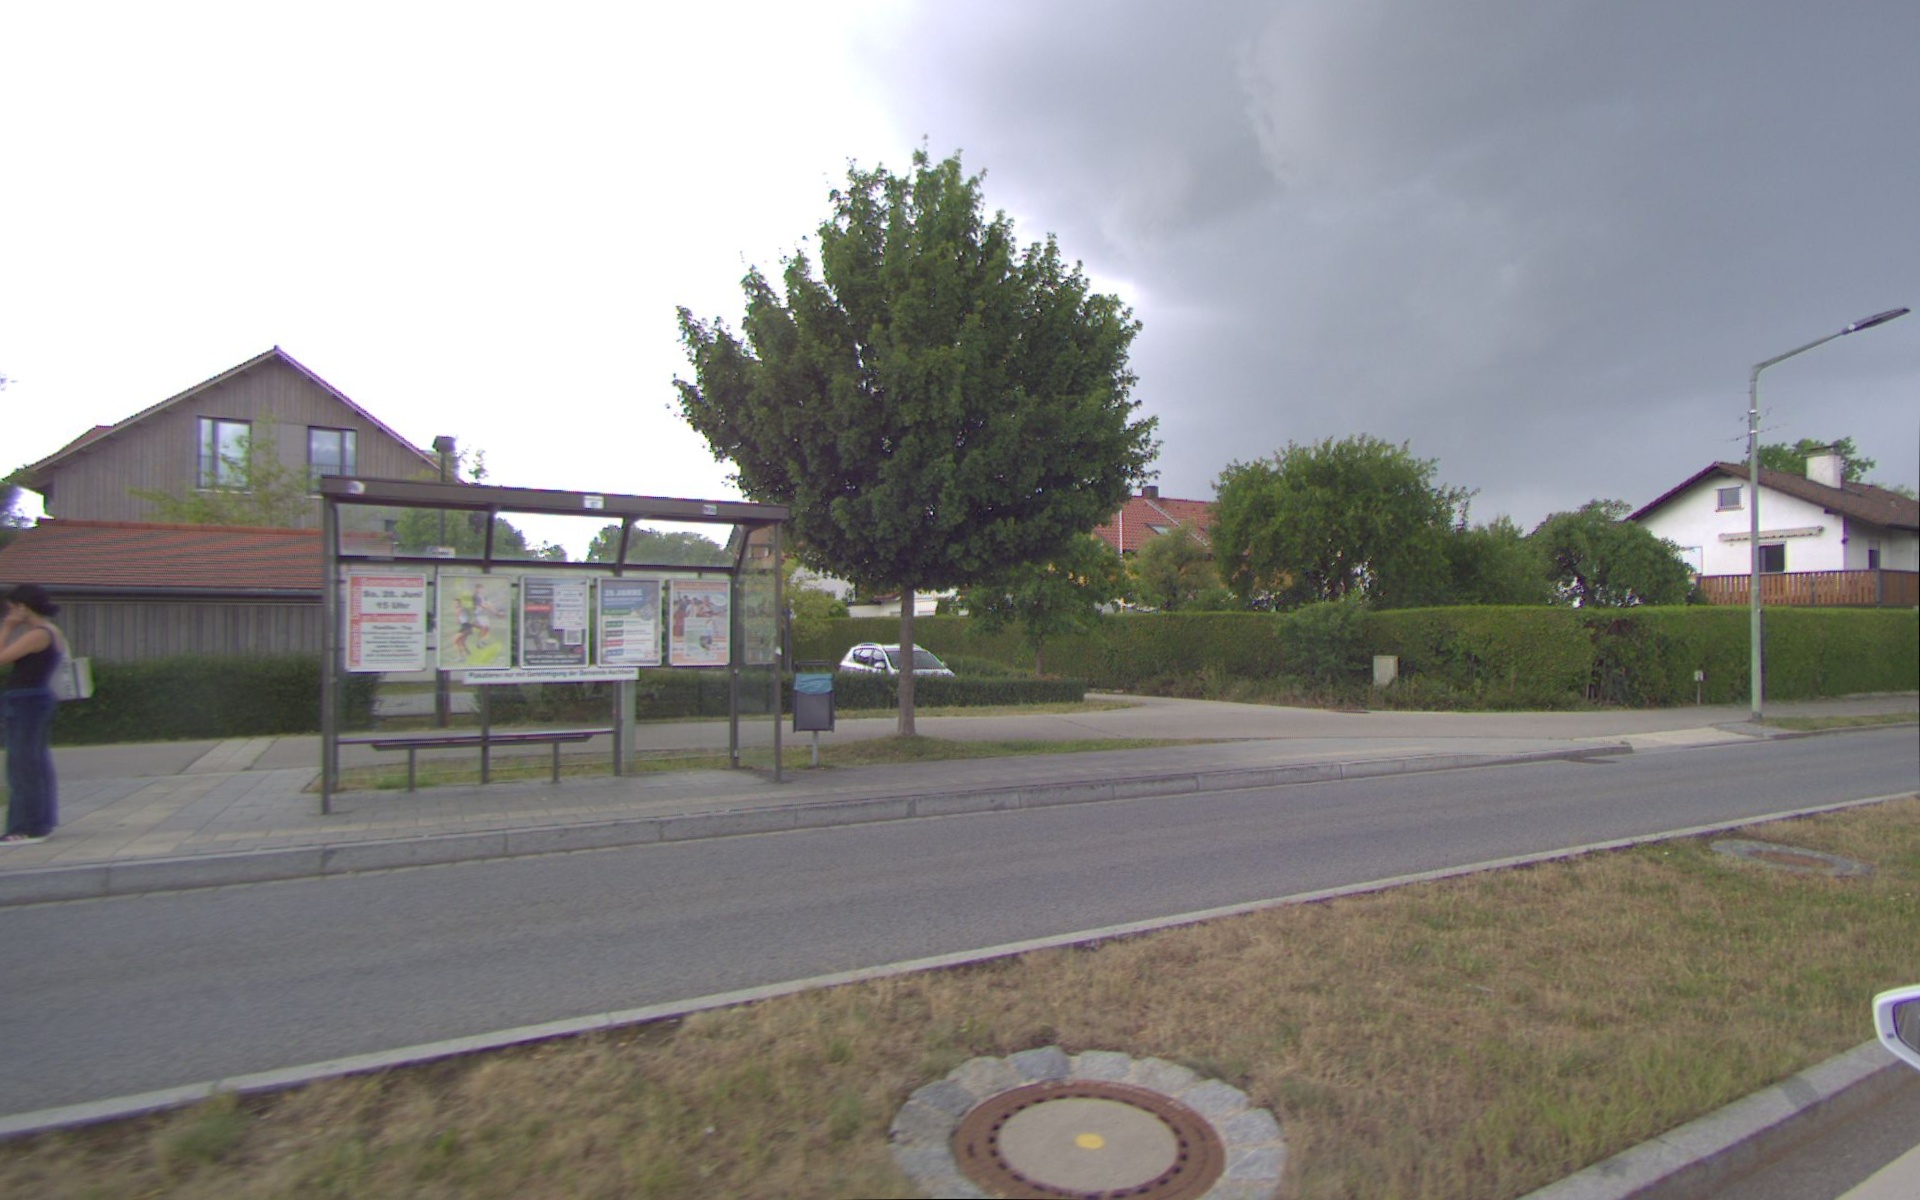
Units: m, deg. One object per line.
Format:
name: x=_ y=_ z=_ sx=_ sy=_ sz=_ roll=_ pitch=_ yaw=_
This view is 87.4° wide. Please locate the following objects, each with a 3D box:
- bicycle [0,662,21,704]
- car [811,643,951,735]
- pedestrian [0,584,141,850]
bicycle: x=-22.763 y=1.952 z=23.730 sx=0.414 sy=0.921 sz=1.932 roll=1 pitch=-2 yaw=-31
car: x=-2.083 y=2.144 z=25.407 sx=1.978 sy=2.040 sz=3.966 roll=1 pitch=-2 yaw=-31
pedestrian: x=-5.982 y=0.737 z=6.610 sx=0.803 sy=1.658 sz=0.585 roll=1 pitch=-1 yaw=-30
